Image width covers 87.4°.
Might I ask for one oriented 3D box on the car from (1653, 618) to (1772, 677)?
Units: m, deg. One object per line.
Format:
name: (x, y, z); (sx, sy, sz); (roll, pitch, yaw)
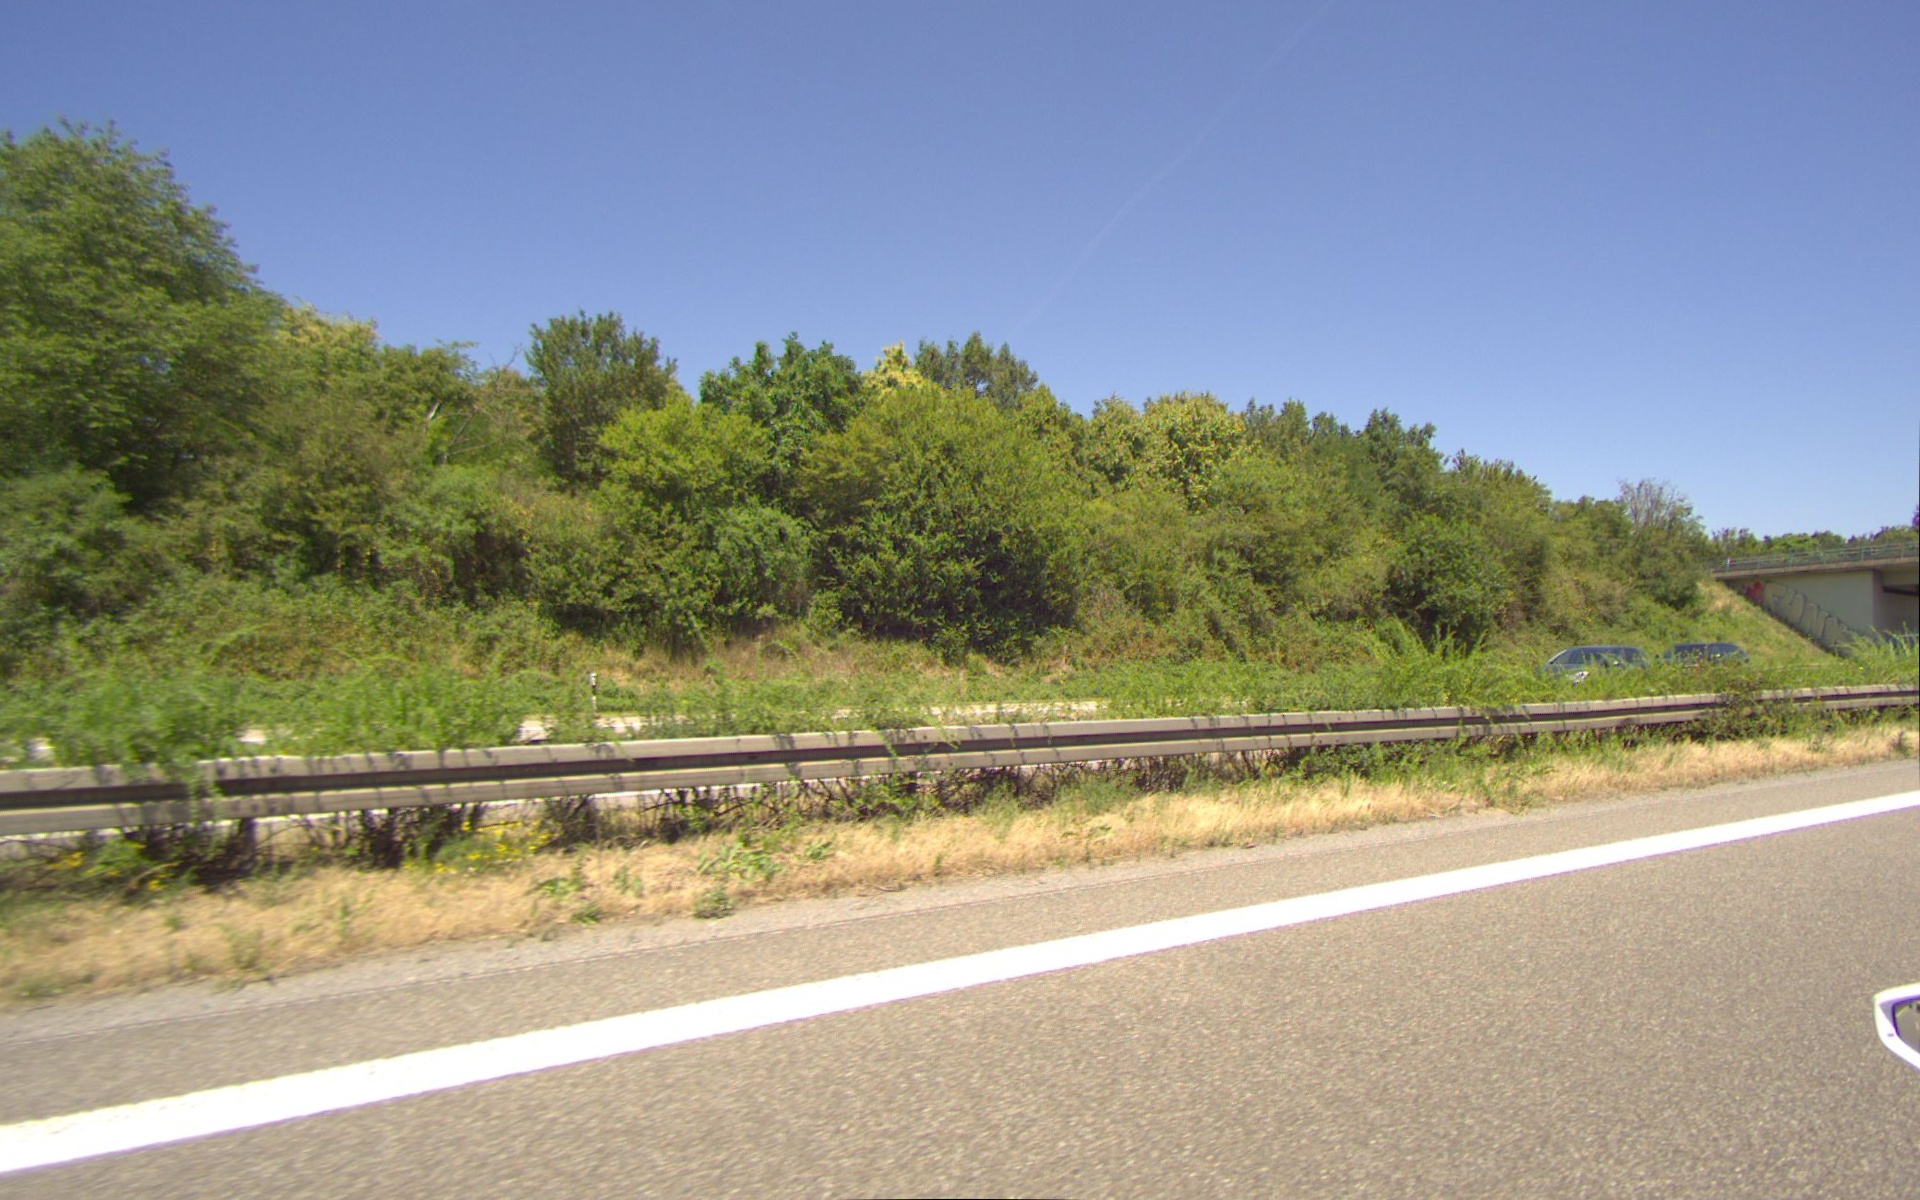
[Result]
car: (27.447, 1.716, 36.634); (3.949, 2.040, 1.986); (1, -1, -28)

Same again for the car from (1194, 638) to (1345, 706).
car: (8.959, 2.035, 29.038); (3.951, 1.740, 1.985); (2, 0, -29)

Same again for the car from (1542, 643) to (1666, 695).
car: (17.501, 1.858, 27.282); (3.244, 1.268, 1.421); (2, 0, -28)

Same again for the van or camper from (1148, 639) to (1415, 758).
van or camper: (6.304, 1.787, 19.525); (5.185, 2.040, 1.985); (1, -2, -30)
